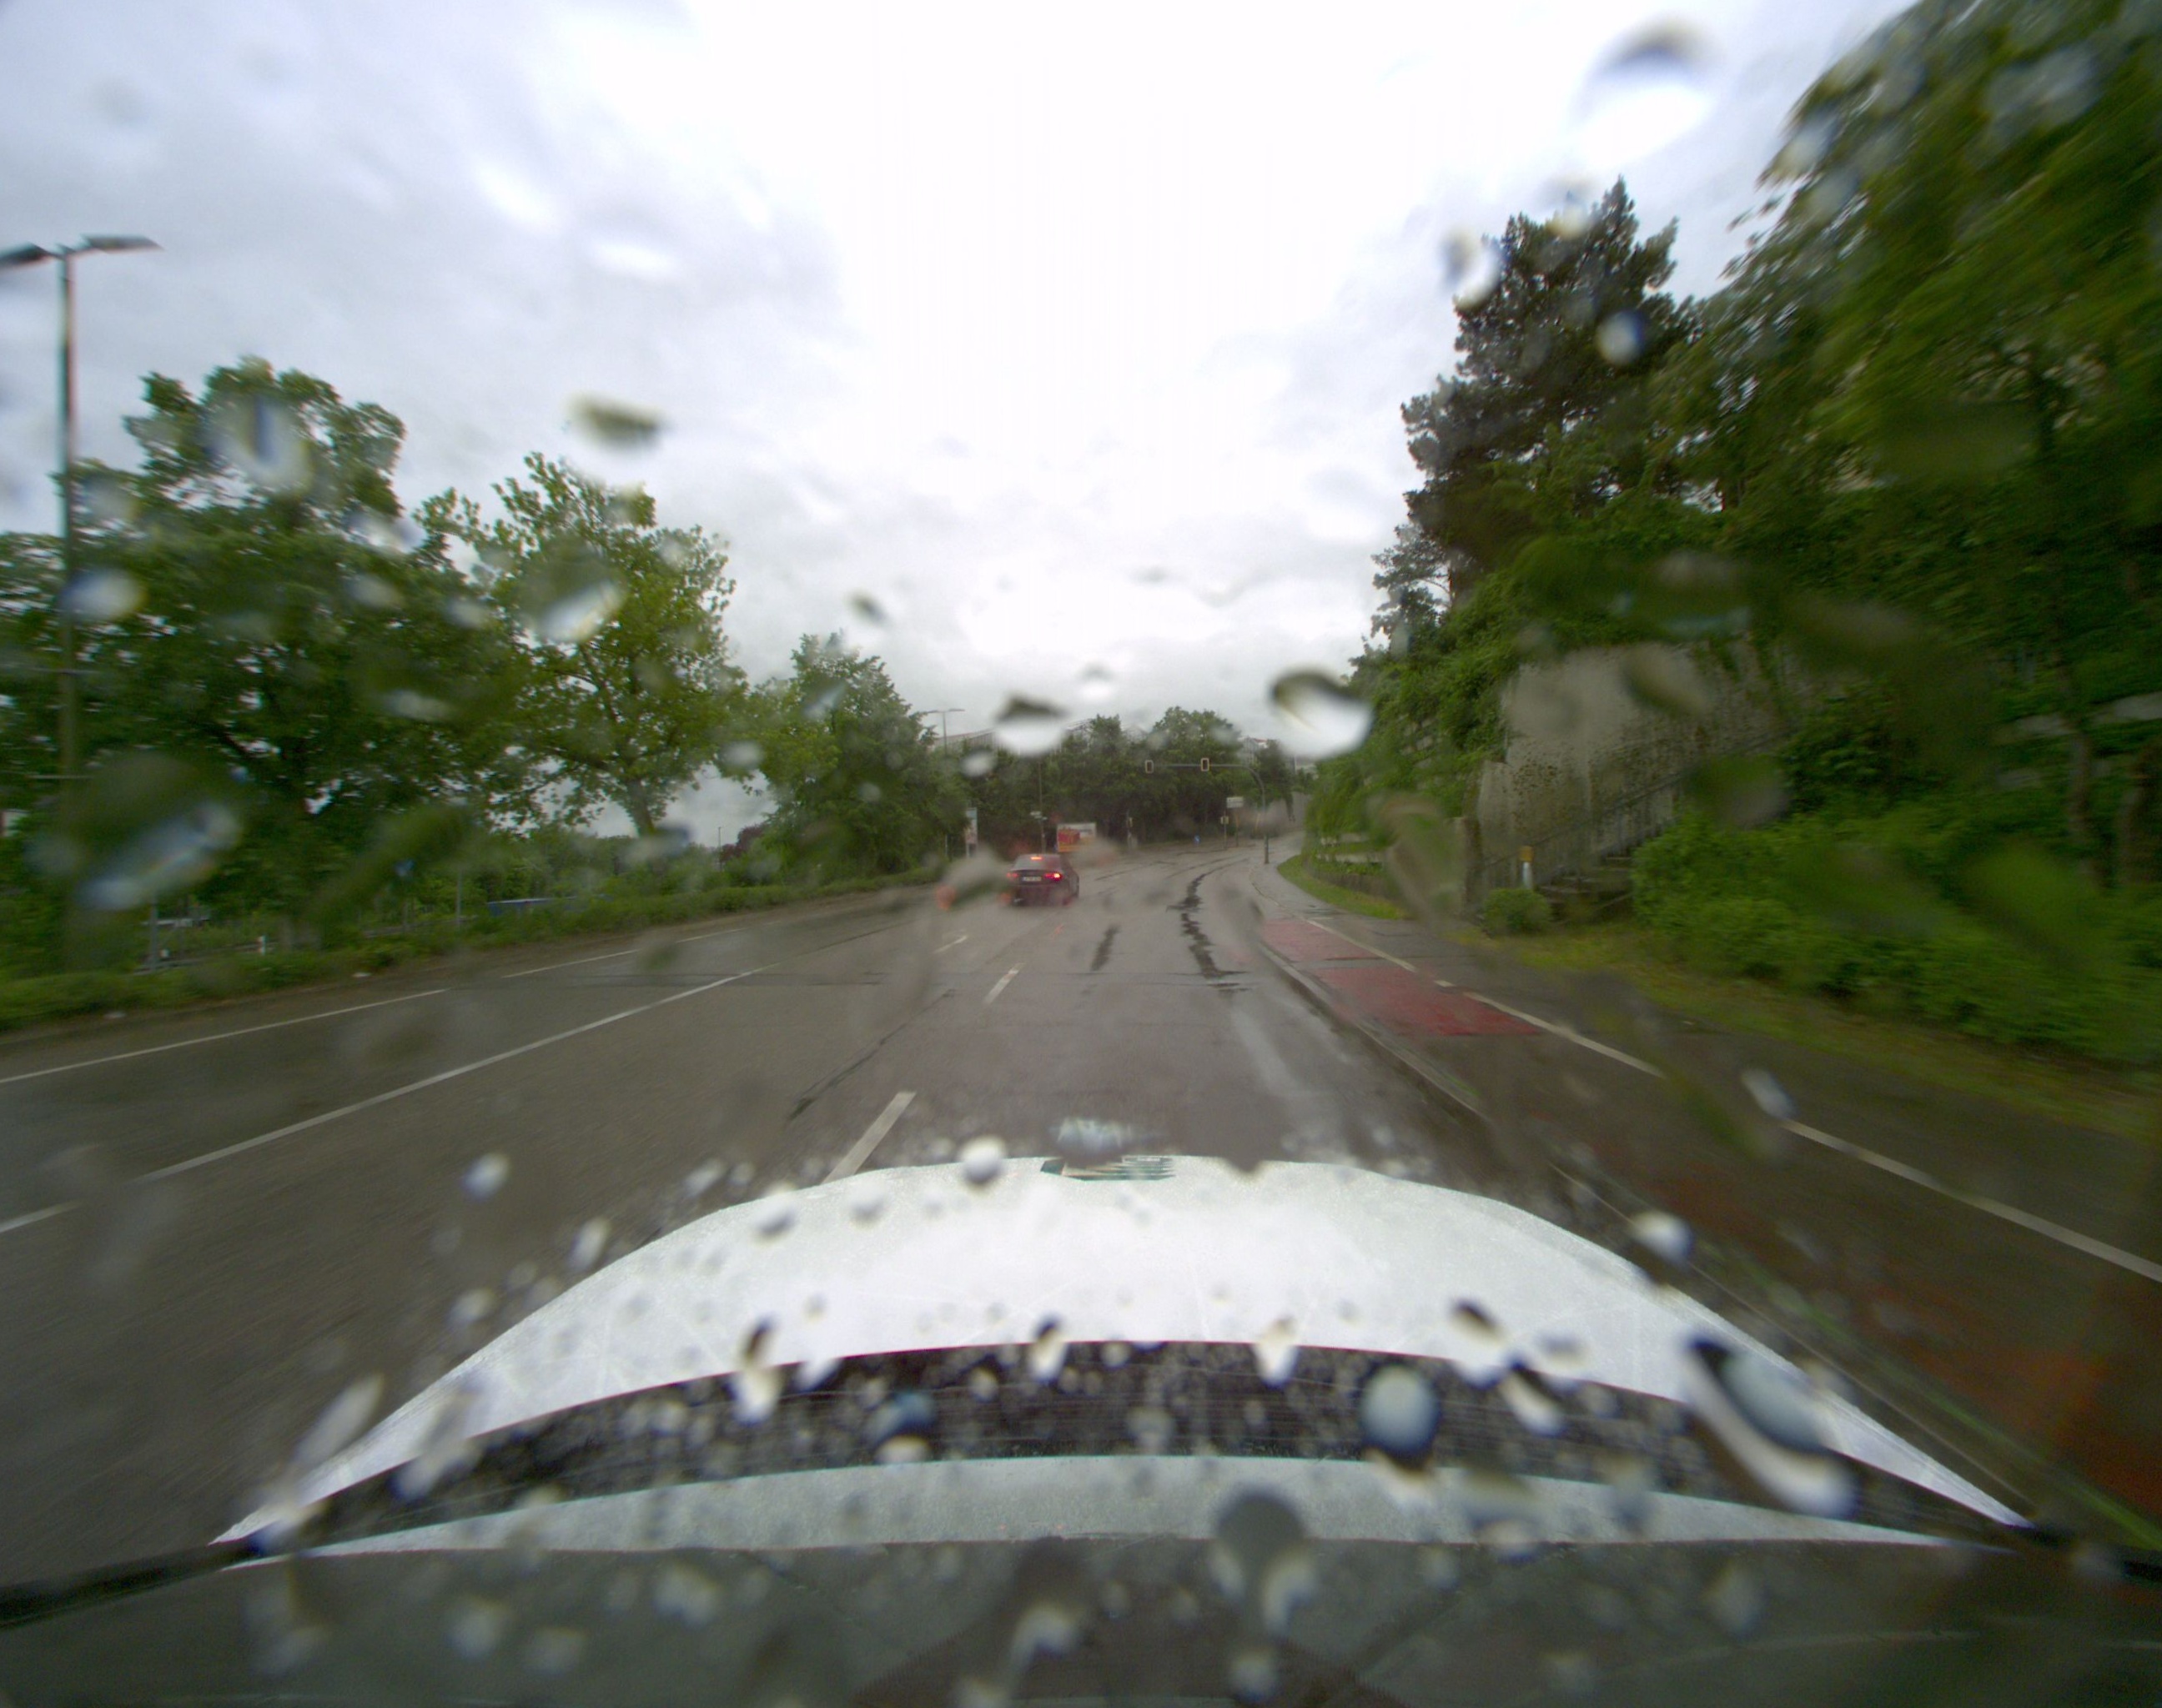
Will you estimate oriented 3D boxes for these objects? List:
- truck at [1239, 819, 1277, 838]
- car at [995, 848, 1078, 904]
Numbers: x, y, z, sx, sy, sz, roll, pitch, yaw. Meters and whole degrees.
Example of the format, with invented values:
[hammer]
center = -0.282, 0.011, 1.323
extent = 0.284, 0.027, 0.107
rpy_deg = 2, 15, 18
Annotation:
[truck]
center = 20.063, -2.920, 92.267
extent = 1.974, 2.013, 5.372
rpy_deg = -1, 1, 38
[car]
center = -1.194, 0.577, 23.596
extent = 1.745, 1.395, 4.008
rpy_deg = -1, 1, 6
